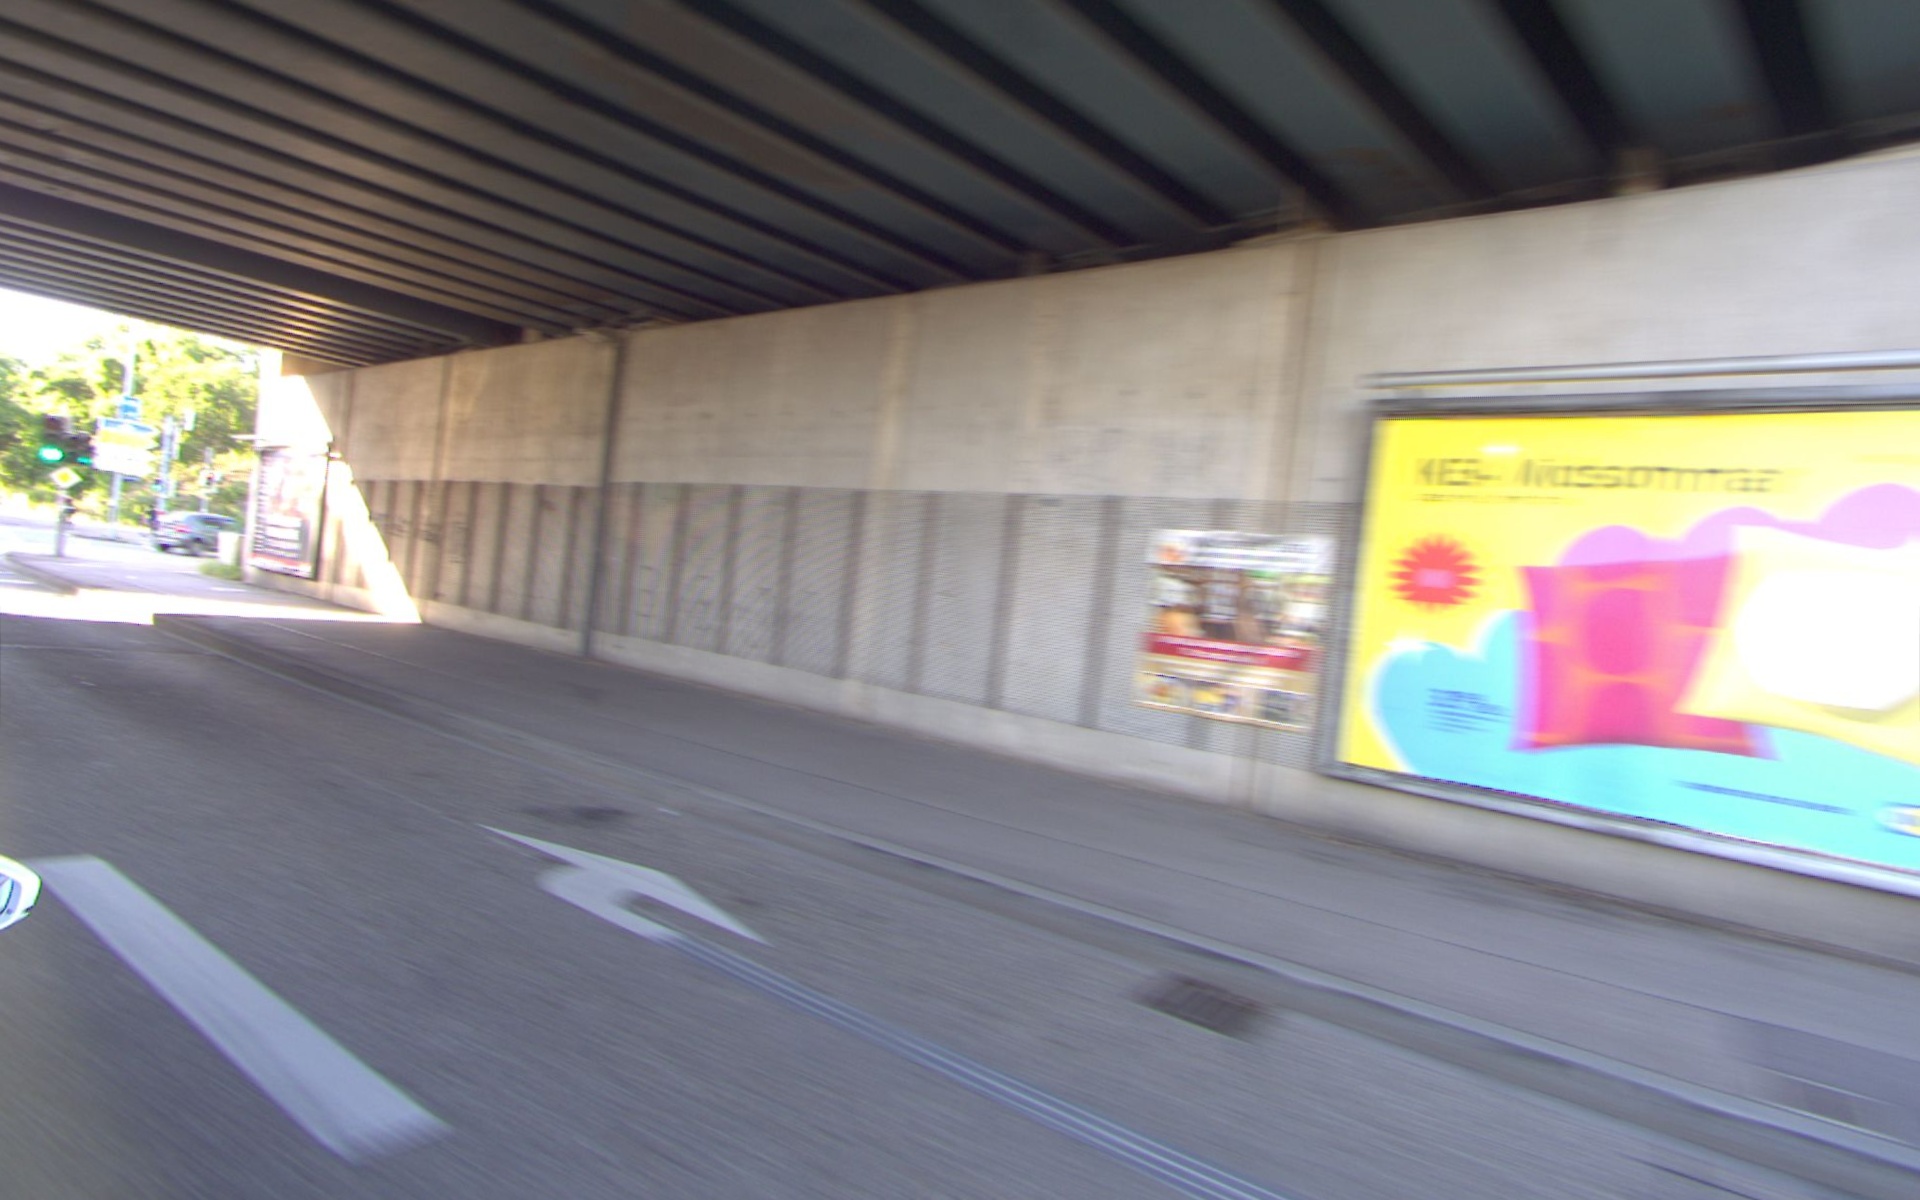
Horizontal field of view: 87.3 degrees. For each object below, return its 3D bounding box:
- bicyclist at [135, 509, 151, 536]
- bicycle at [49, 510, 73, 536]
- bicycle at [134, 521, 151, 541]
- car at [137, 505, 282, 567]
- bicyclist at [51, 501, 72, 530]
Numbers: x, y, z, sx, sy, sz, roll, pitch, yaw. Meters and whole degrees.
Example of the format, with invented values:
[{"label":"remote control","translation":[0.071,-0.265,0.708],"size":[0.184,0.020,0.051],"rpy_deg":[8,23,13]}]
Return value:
[{"label":"bicyclist","translation":[-41.971,-3.999,51.689],"size":[0.453,1.324,0.427],"rpy_deg":[6,-1,40]},{"label":"bicycle","translation":[-44.137,-3.788,49.392],"size":[1.599,1.125,0.564],"rpy_deg":[6,-2,40]},{"label":"bicycle","translation":[-41.991,-3.548,51.660],"size":[1.012,0.925,0.437],"rpy_deg":[6,-2,40]},{"label":"car","translation":[-28.113,-2.353,37.855],"size":[1.709,1.649,4.068],"rpy_deg":[7,-2,13]},{"label":"bicyclist","translation":[-44.127,-4.144,49.429],"size":[0.823,1.331,0.543],"rpy_deg":[6,-1,40]}]
